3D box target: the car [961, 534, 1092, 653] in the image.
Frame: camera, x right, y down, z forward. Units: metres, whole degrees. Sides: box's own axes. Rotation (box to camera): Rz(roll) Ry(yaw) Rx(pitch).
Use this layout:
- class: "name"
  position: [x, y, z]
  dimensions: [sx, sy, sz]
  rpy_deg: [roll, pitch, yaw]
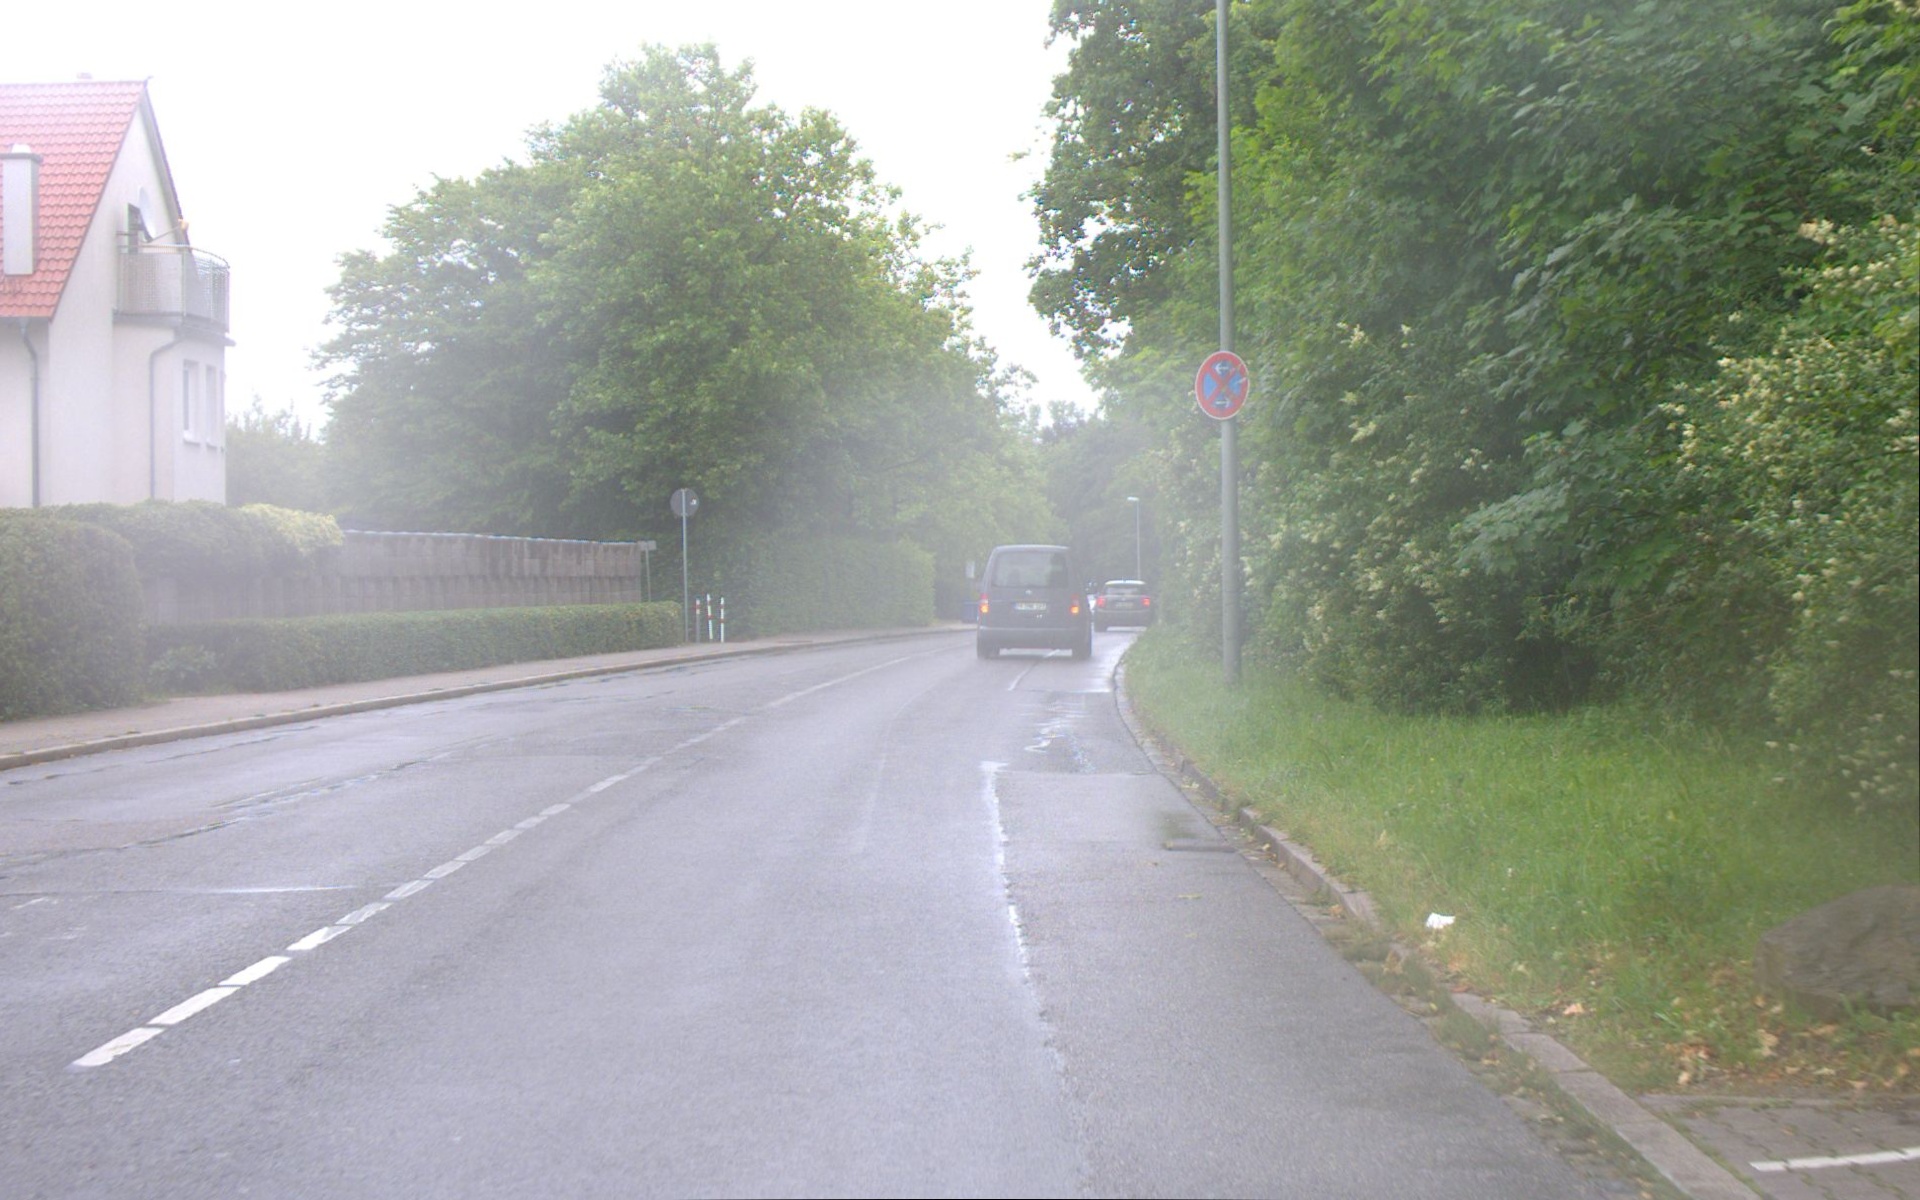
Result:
- class: "car"
  position: [1.092, -0.141, 56.055]
  dimensions: [1.993, 1.787, 4.000]
  rpy_deg: [2, 2, 1]

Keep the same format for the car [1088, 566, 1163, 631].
- class: "car"
  position: [4.737, -0.054, 97.856]
  dimensions: [1.950, 1.744, 4.000]
  rpy_deg: [-1, 1, 5]
